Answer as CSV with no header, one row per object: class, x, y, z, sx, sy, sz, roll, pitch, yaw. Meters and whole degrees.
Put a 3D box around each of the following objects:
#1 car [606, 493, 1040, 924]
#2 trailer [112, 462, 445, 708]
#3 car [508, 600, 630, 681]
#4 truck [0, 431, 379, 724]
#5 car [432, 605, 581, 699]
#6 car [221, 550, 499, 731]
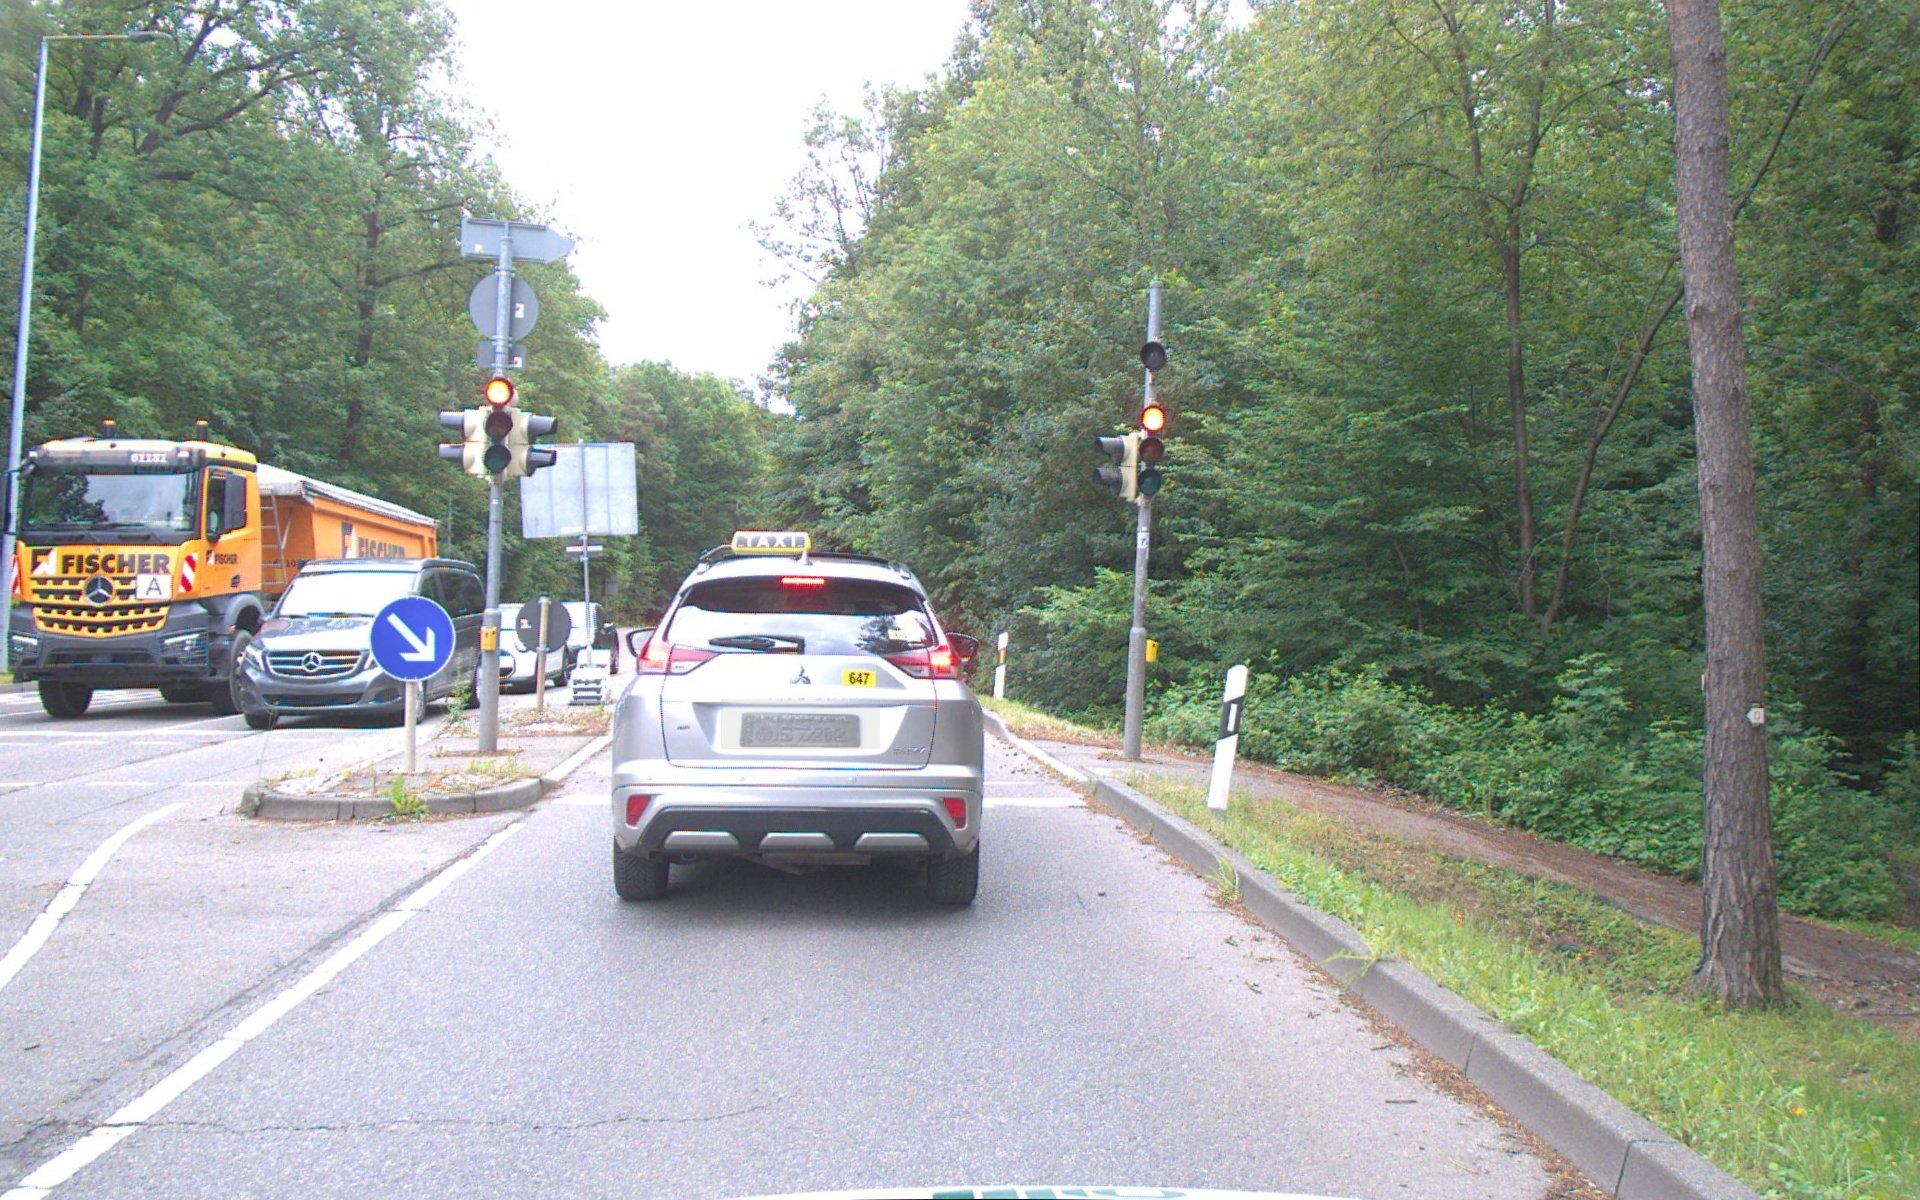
car,-0.770,0.471,9.086,1.811,1.811,3.995,2,0,-6
trailer,-10.705,-0.152,27.062,2.686,3.376,8.557,0,-1,-6
car,-8.004,0.792,34.165,1.775,1.534,3.719,-1,0,-3
truck,-10.269,-0.215,22.754,2.686,3.376,7.150,0,-1,-6
car,-7.396,0.797,27.297,1.580,1.344,3.719,-1,1,-3
car,-7.125,0.450,20.216,1.954,1.927,4.834,-1,0,-5
